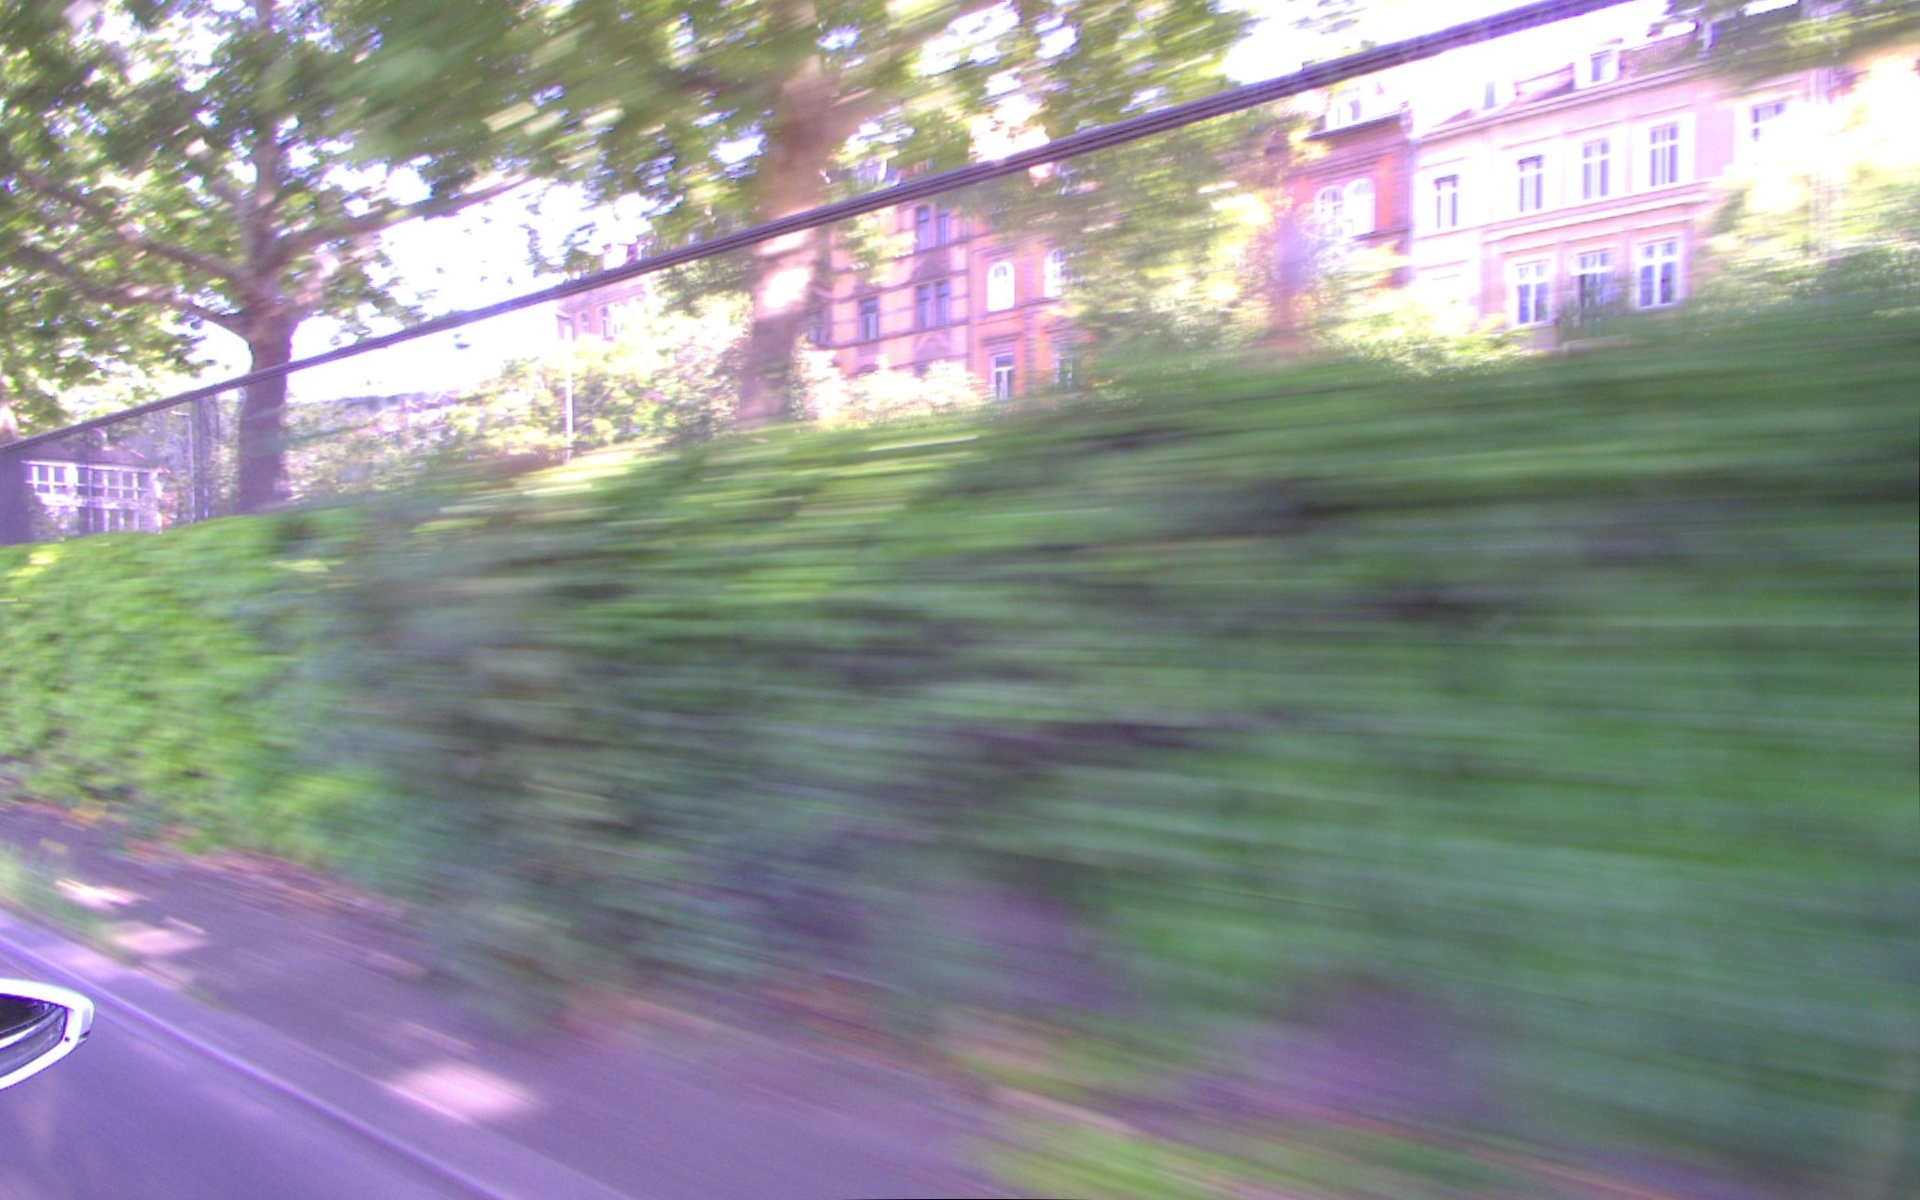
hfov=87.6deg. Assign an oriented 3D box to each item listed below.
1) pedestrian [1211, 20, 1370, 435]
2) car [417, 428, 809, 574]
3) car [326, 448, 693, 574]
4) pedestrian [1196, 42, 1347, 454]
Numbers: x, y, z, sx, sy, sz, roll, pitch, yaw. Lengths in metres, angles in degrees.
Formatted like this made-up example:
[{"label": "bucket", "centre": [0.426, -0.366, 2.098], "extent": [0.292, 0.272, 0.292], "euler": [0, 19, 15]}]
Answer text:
[{"label": "pedestrian", "centre": [1.395, -1.477, 4.195], "extent": [0.579, 1.438, 0.584], "euler": [0, 1, 24]}, {"label": "car", "centre": [-3.410, -0.887, 10.508], "extent": [1.626, 1.129, 3.724], "euler": [0, 0, 31]}, {"label": "car", "centre": [-5.096, -0.918, 11.827], "extent": [1.625, 1.129, 3.726], "euler": [0, 0, 29]}, {"label": "pedestrian", "centre": [1.503, -1.595, 4.795], "extent": [0.616, 1.662, 0.647], "euler": [0, 1, 24]}]
